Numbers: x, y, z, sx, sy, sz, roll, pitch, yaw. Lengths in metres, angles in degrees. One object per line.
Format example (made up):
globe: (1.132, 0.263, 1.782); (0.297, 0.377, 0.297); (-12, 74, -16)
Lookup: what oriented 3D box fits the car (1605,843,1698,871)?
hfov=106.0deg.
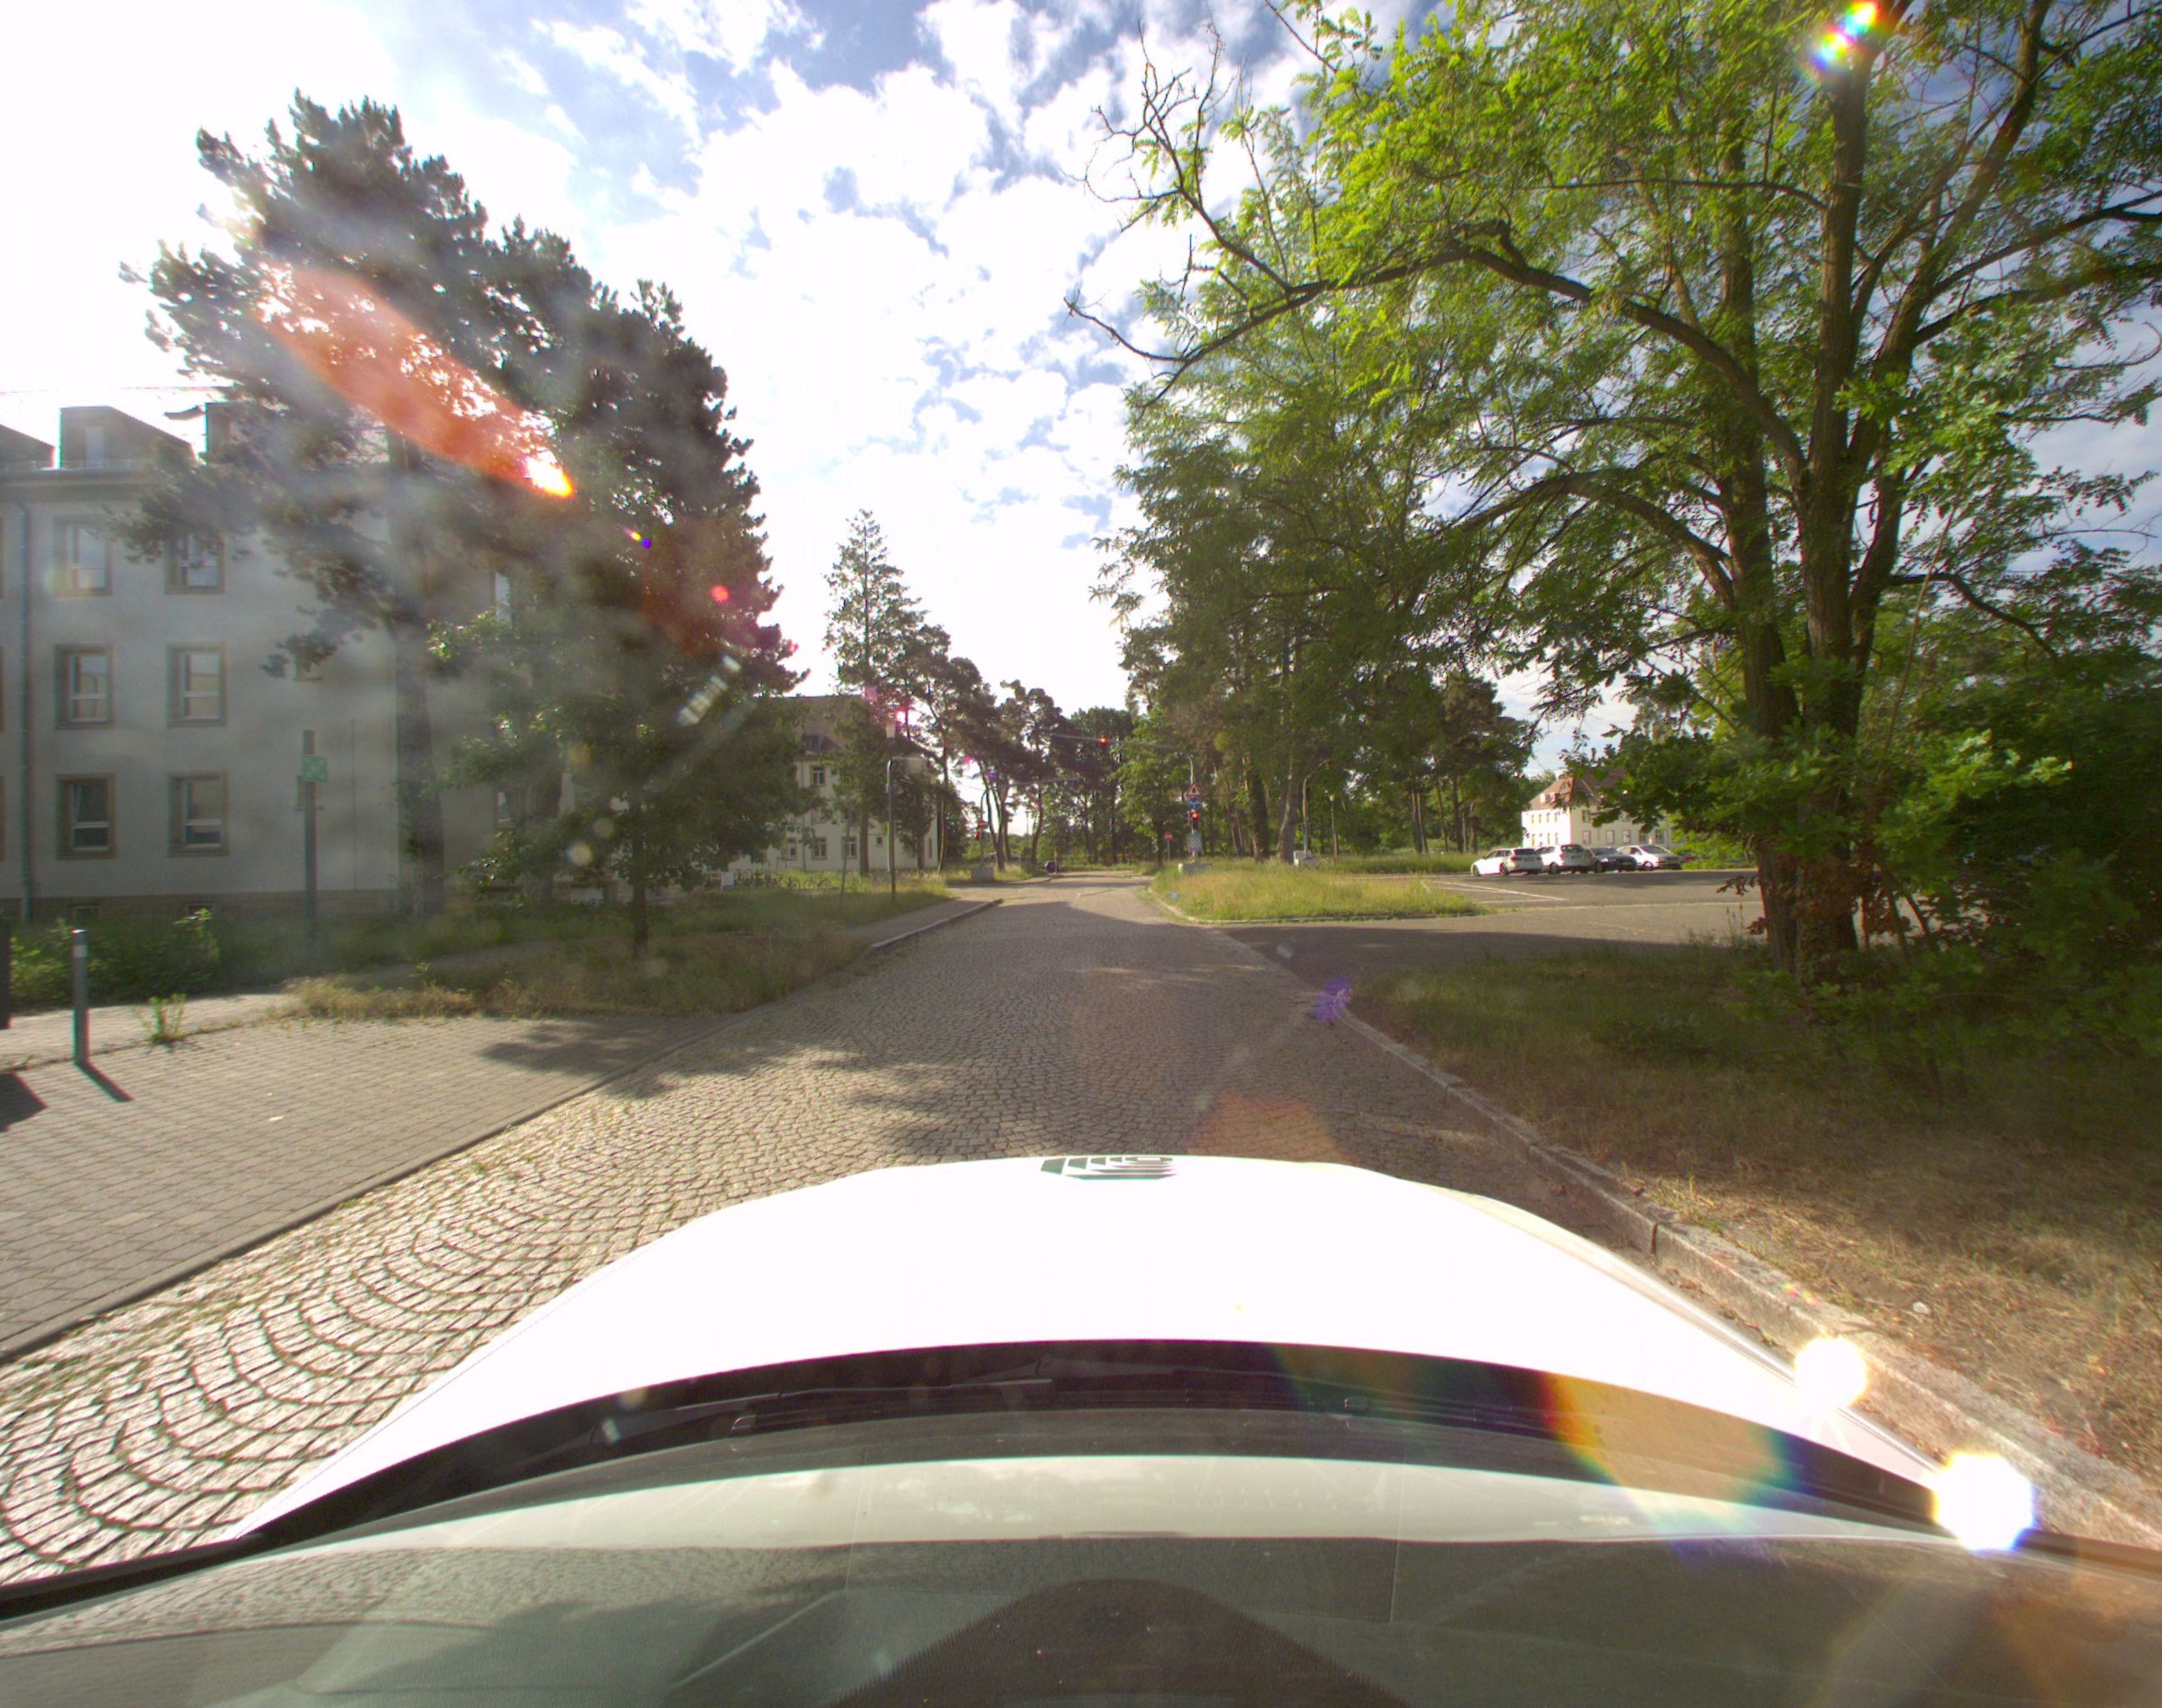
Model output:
car: (30.057, 0.162, 43.090); (1.726, 1.312, 4.328); (-2, 0, -2)

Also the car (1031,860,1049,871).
car: (-5.579, 1.576, 110.984); (1.772, 1.490, 3.764); (-2, 0, 8)

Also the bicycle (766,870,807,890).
bicycle: (-17.627, 1.555, 48.760); (2.112, 1.108, 0.828); (-2, -1, -3)

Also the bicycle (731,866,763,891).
bicycle: (-20.620, 1.499, 50.332); (0.823, 1.437, 2.554); (-2, 0, 1)

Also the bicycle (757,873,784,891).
bicycle: (-19.051, 1.699, 50.020); (0.823, 1.047, 2.124); (-2, 0, 1)

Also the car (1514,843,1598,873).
car: (24.703, 0.208, 42.546); (1.726, 1.476, 4.328); (-2, 0, -2)

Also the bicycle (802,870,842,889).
bicycle: (-15.505, 1.545, 48.839); (2.112, 1.047, 0.828); (-2, -1, -3)

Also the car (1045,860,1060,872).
car: (-3.665, 1.515, 106.210); (1.840, 1.486, 3.998); (-2, 0, -1)

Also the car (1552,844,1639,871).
car: (27.004, 0.193, 42.919); (1.726, 1.312, 4.328); (-2, 0, -2)

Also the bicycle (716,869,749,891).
bicycle: (-21.396, 1.591, 50.035); (0.823, 1.281, 2.554); (-2, 0, 1)

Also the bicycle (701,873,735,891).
bicycle: (-22.293, 1.711, 50.041); (0.897, 1.047, 2.554); (-2, 0, 1)

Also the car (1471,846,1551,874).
car: (22.184, 0.303, 42.256); (1.726, 1.312, 4.328); (-2, 0, -2)

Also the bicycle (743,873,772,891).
bicycle: (-19.832, 1.702, 49.983); (0.823, 1.047, 2.124); (-2, 0, 1)
